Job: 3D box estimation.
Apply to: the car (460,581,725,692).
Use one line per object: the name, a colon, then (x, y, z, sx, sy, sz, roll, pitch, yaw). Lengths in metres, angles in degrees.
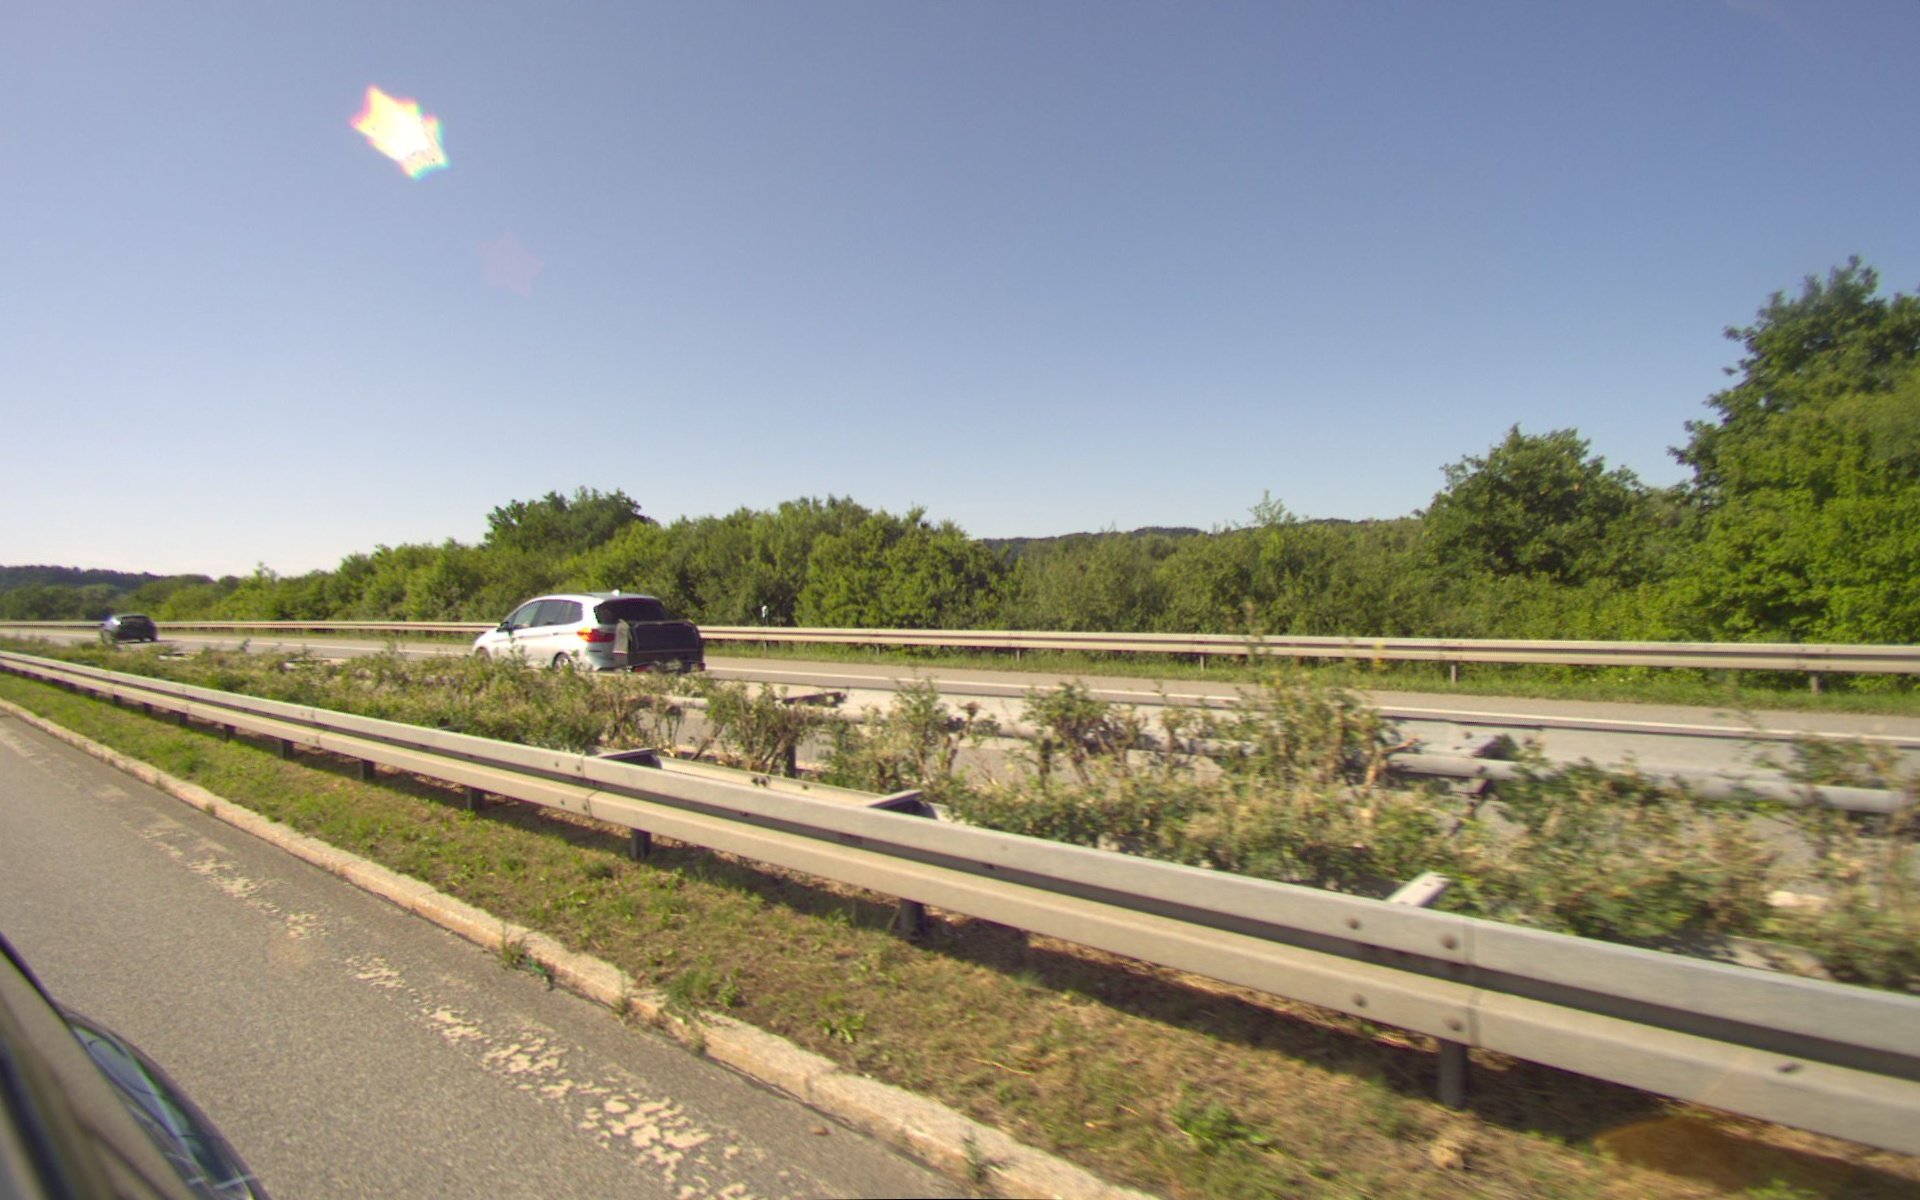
car: (-6.236, 0.579, 16.867, 4.911, 1.600, 1.891, -2, -1, 39)

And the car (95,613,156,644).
car: (-42.167, 1.414, 51.090, 4.767, 1.456, 1.720, -1, 0, 42)
